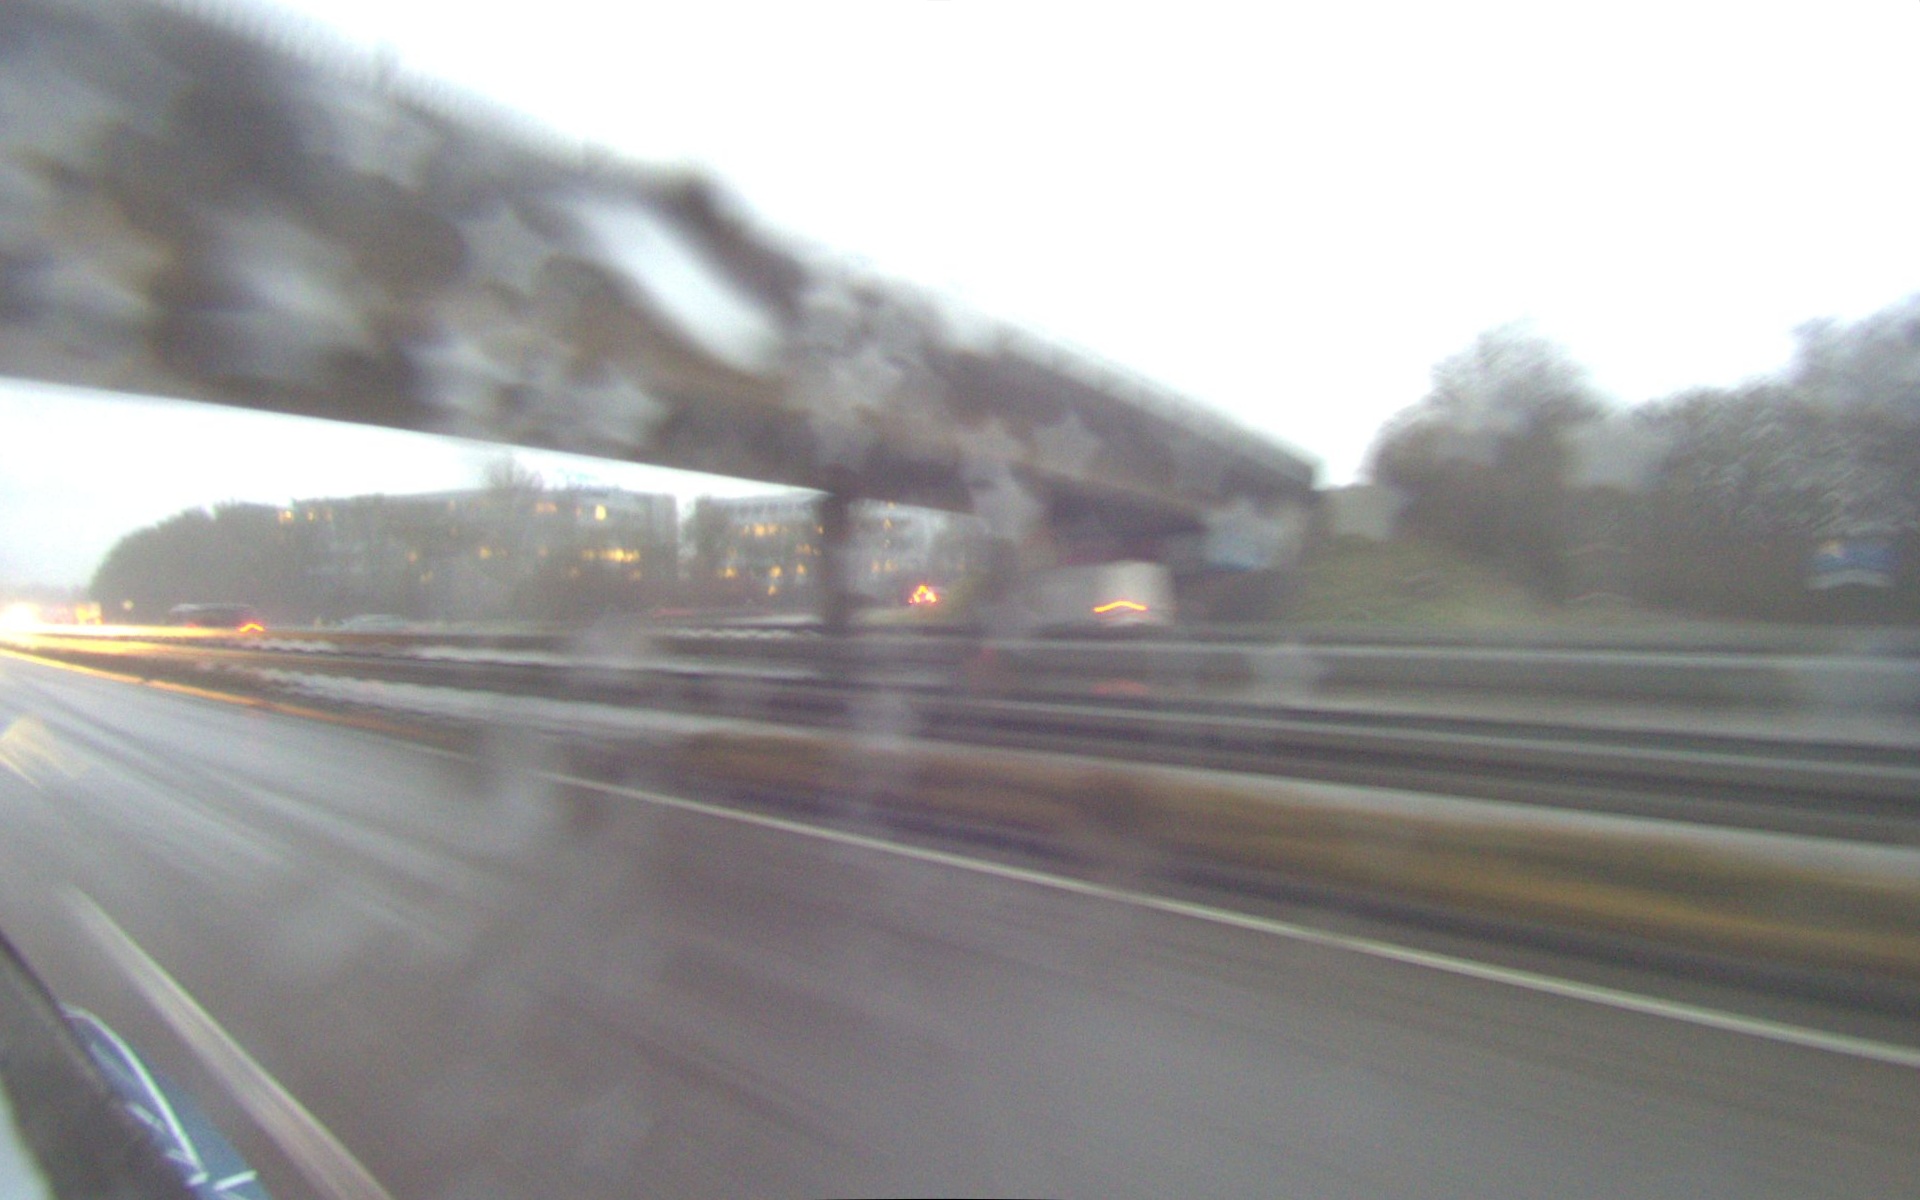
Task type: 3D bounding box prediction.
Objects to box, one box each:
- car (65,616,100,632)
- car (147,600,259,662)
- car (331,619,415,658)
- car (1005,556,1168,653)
[{"bbox_3d":[-99.472,2.716,114.702,3.987,1.697,1.833,-2,1,32],"label":"car"},{"bbox_3d":[-26.257,1.072,35.034,5.267,1.887,1.973,-2,2,41],"label":"car"},{"bbox_3d":[-19.800,1.291,34.111,3.365,1.231,1.419,-2,-1,41],"label":"car"},{"bbox_3d":[3.919,0.144,31.852,4.579,2.793,2.166,-2,2,44],"label":"car"}]
